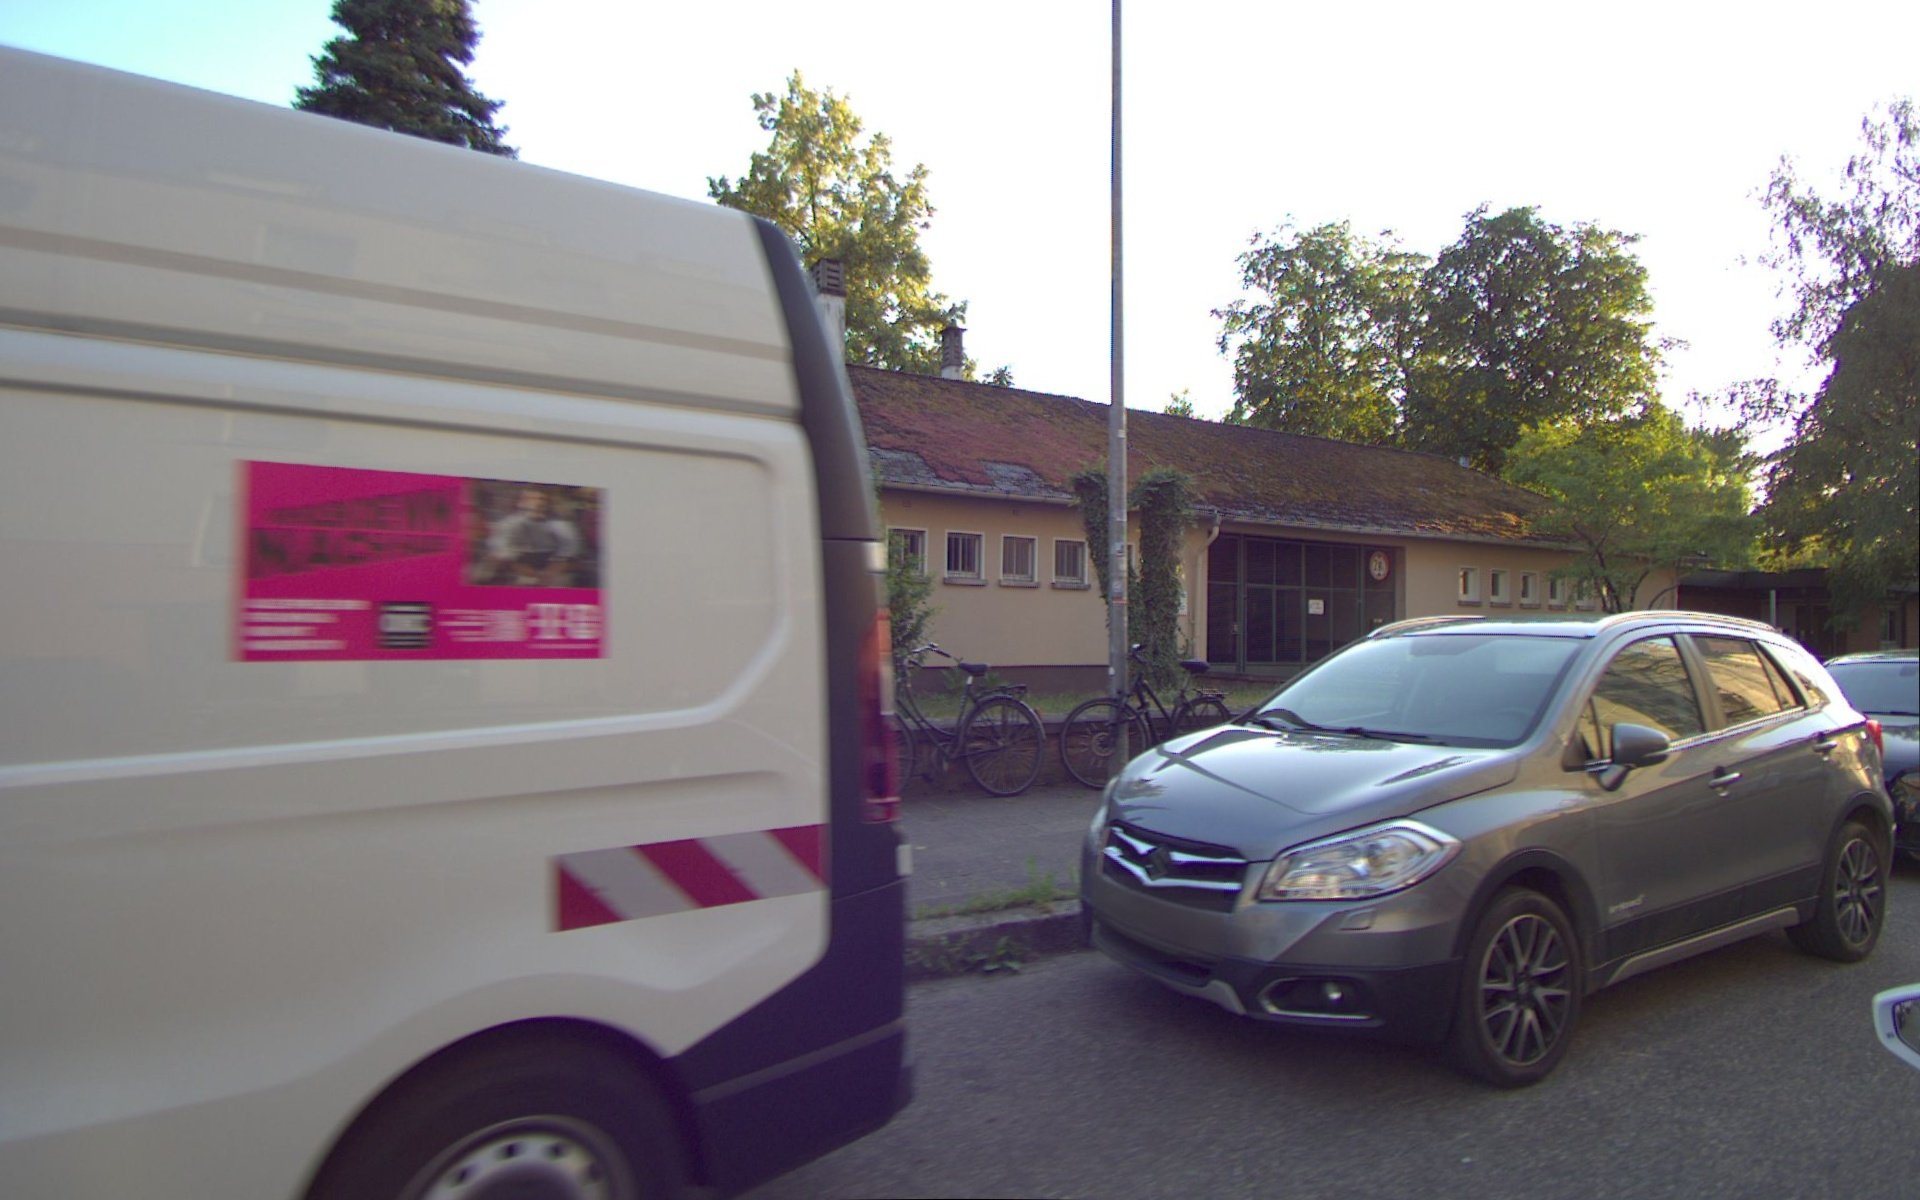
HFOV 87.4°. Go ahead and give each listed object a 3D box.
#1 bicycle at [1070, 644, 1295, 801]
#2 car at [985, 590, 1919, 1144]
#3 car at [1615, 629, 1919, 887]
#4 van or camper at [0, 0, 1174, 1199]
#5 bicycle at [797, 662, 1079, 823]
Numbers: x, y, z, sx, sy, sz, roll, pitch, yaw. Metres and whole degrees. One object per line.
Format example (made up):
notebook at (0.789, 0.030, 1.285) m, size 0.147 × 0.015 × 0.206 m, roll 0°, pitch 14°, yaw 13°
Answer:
bicycle at (1.830, 0.933, 8.129) m, size 1.933 × 1.133 × 0.540 m, roll 2°, pitch 0°, yaw -31°
car at (2.654, 0.815, 4.844) m, size 4.731 × 1.539 × 1.985 m, roll 2°, pitch -1°, yaw -30°
car at (7.108, 0.997, 7.516) m, size 4.236 × 1.472 × 1.985 m, roll 2°, pitch -1°, yaw -29°
van or camper at (-2.552, 0.143, 1.845) m, size 6.012 × 2.489 × 1.984 m, roll 2°, pitch -2°, yaw -30°
bicycle at (-0.124, 0.943, 7.048) m, size 1.931 × 0.977 × 0.541 m, roll 2°, pitch 0°, yaw -28°
